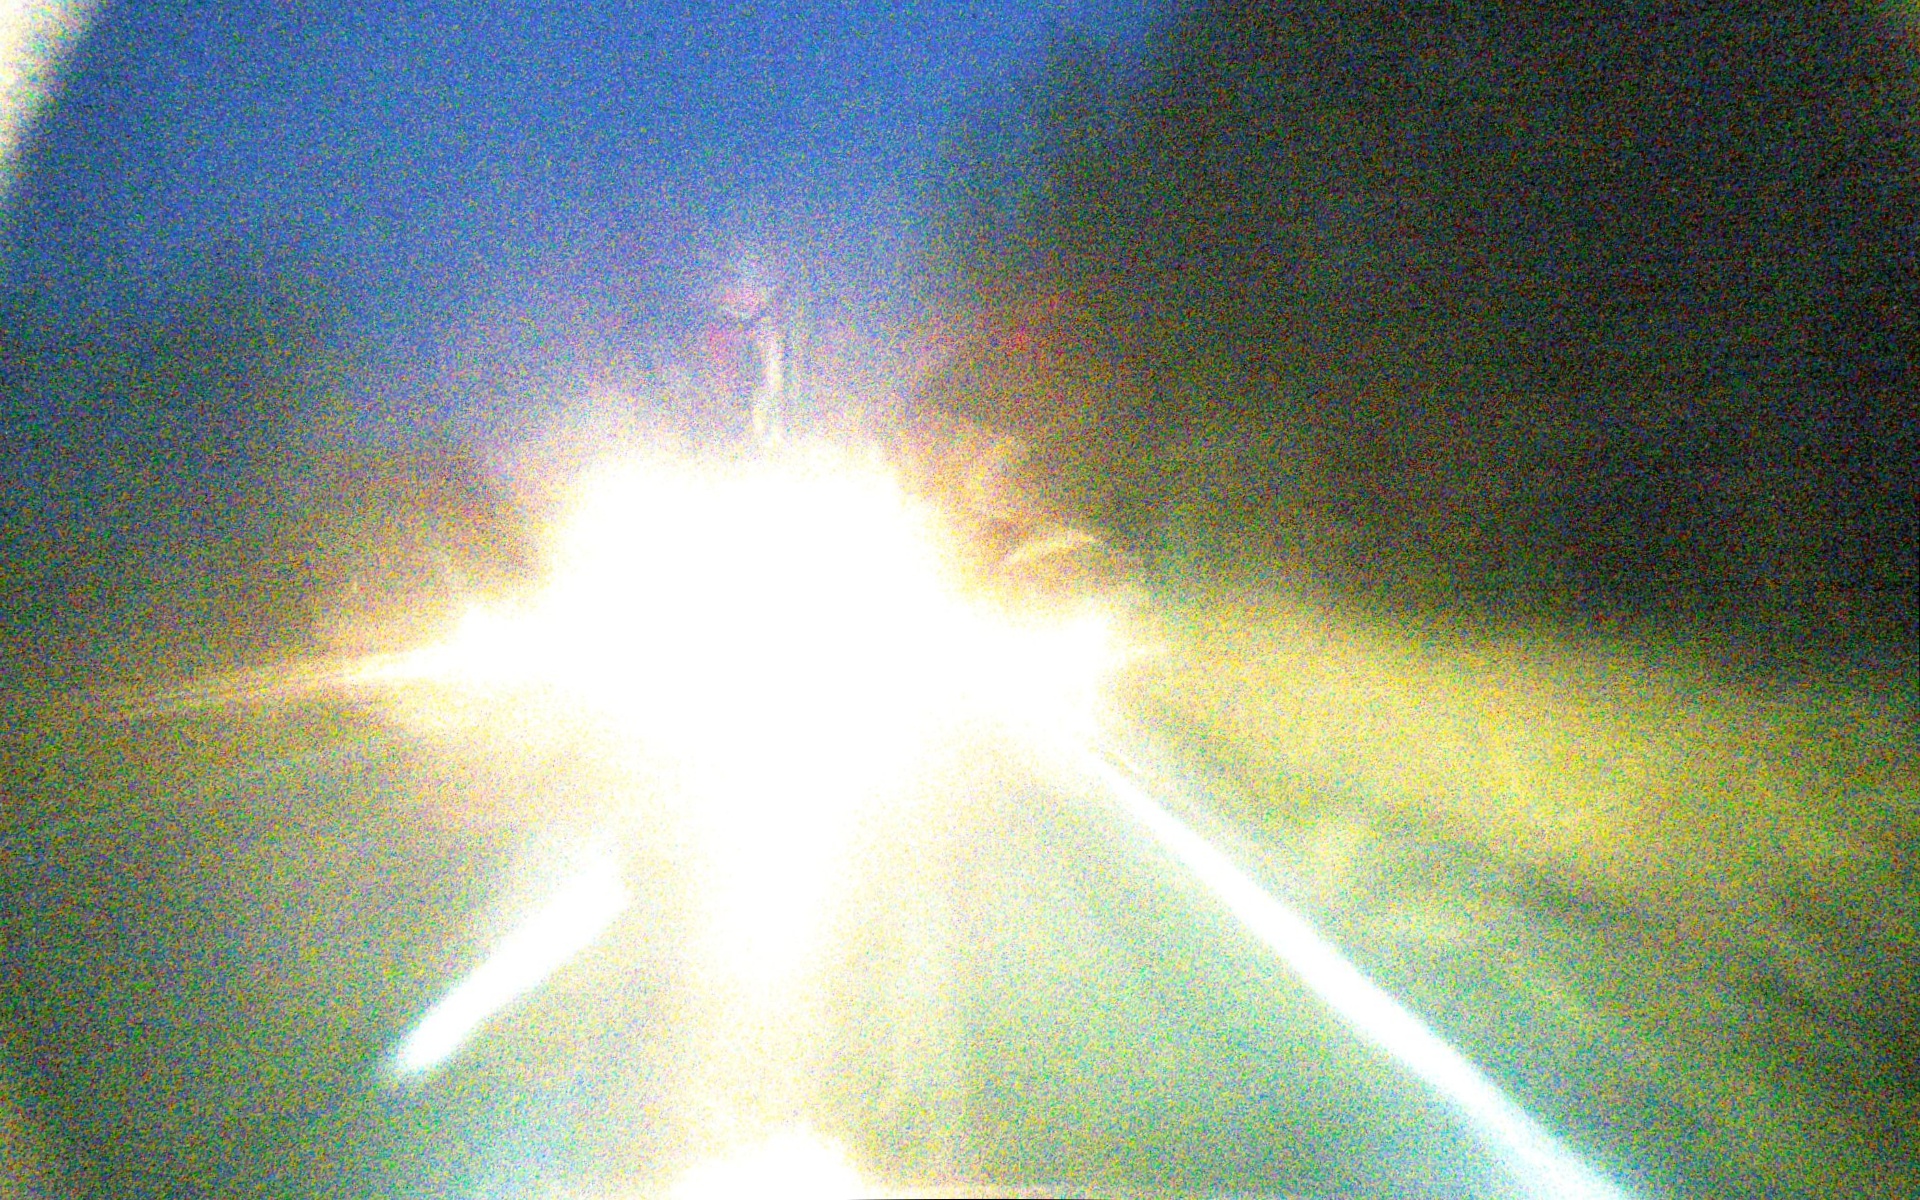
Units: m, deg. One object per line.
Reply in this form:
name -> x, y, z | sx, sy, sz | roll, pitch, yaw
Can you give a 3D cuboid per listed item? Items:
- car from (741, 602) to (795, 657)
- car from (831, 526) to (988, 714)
car -> -7.493, 1.107, 64.853 | 1.955, 2.049, 4.451 | -1, 0, -5
car -> -0.833, 0.261, 26.162 | 2.138, 2.601, 4.505 | 3, 1, -3
